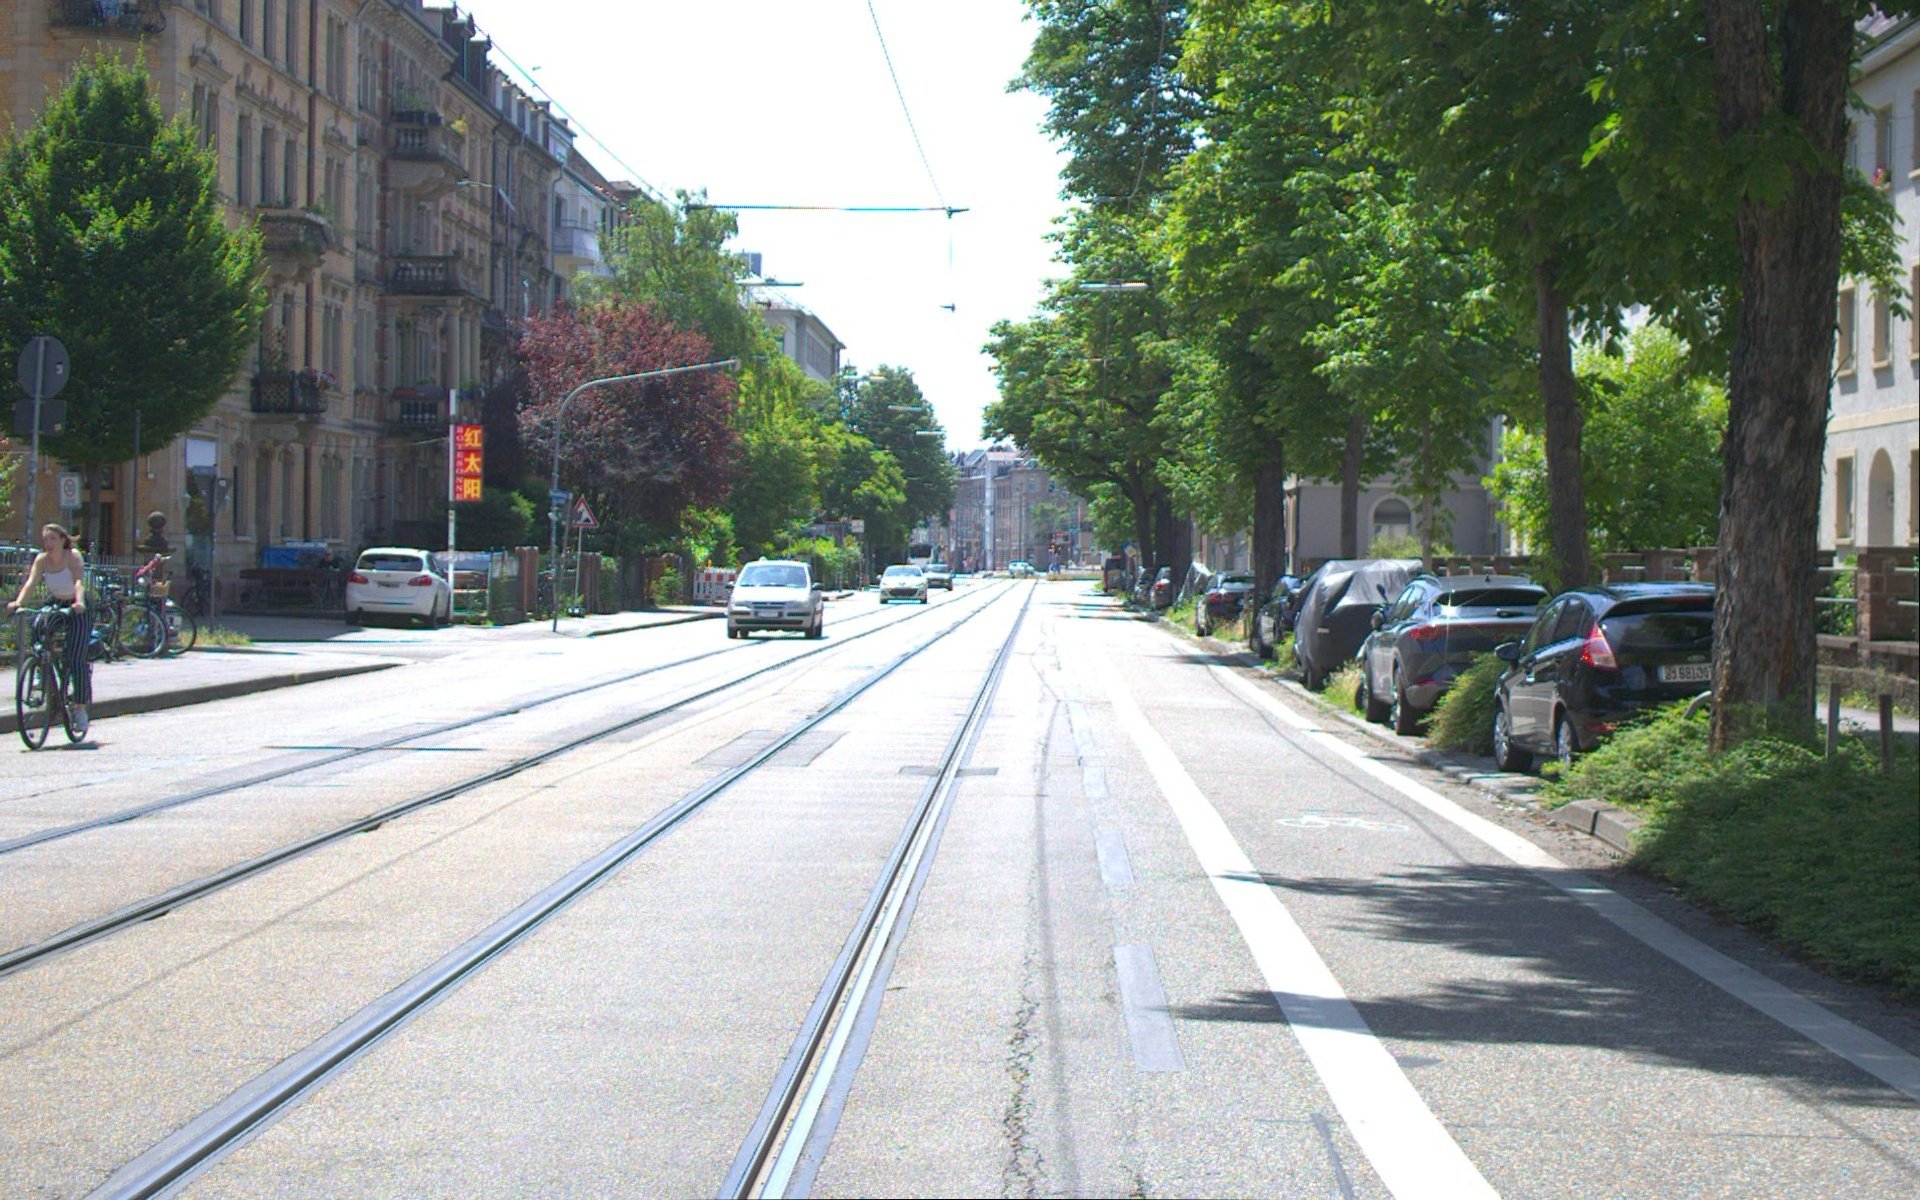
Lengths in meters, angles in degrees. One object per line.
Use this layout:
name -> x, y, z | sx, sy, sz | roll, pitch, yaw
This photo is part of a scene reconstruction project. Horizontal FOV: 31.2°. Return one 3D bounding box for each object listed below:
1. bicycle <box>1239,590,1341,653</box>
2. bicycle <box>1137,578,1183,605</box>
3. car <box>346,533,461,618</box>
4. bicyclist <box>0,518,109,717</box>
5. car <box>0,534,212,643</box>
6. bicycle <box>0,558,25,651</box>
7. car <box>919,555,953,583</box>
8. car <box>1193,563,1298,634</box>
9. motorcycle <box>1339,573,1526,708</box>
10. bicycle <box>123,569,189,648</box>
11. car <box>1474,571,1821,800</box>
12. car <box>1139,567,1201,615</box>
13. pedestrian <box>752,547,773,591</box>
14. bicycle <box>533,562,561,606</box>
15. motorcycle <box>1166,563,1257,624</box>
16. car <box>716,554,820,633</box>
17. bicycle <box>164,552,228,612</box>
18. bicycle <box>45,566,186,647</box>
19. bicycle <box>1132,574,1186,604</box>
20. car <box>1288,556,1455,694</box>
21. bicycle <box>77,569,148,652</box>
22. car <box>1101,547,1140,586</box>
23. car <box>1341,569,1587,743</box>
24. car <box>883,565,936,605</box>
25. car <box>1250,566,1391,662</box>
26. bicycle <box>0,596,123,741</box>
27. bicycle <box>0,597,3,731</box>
bicycle -> 5.724, 0.371, 59.618 | 1.652, 1.074, 0.606 | 1, 1, -6
bicycle -> 8.125, -0.352, 139.631 | 1.816, 1.109, 0.493 | 0, -1, 1
car -> -11.355, -0.511, 70.397 | 1.865, 1.594, 4.102 | 2, 1, -4
bicyclist -> -7.129, 0.129, 27.076 | 0.592, 1.539, 0.952 | 0, 1, 1
car -> -12.492, -0.164, 47.773 | 3.760, 1.423, 1.713 | 2, 0, 2
bicycle -> -10.615, 0.039, 37.130 | 0.496, 0.984, 1.711 | 5, 1, 0
car -> -1.258, -1.684, 184.795 | 1.686, 1.449, 3.748 | 1, 1, 1
car -> 6.152, -0.056, 74.487 | 1.769, 1.422, 4.862 | 1, 1, -1
motorcycle -> 5.216, 0.445, 37.996 | 1.912, 1.428, 0.672 | 1, 1, -7
bicycle -> -10.356, 0.098, 44.312 | 0.438, 0.980, 1.711 | 1, 1, 0
car -> 5.011, 0.567, 25.553 | 1.656, 1.510, 4.000 | 1, 1, -1
car -> 6.796, -0.318, 111.338 | 1.774, 1.496, 4.305 | 0, 1, 0
pedestrian -> -7.572, -1.189, 131.707 | 0.750, 1.623, 0.833 | 2, 0, -4
bicycle -> -9.532, -0.369, 79.404 | 0.454, 1.000, 1.807 | 1, 1, -2
motorcycle -> 6.565, -0.177, 89.795 | 2.319, 1.535, 0.867 | 2, 1, 45
car -> -3.657, -0.149, 66.072 | 1.684, 1.444, 4.000 | 1, 1, 1
bicycle -> -15.505, -0.377, 69.834 | 0.638, 1.183, 2.144 | 1, 1, 5
bicycle -> -11.228, 0.080, 45.719 | 1.705, 1.033, 0.551 | 1, 1, 6
bicycle -> 7.248, -0.395, 125.302 | 1.890, 1.048, 0.538 | 1, 0, 9
car -> 5.322, 0.277, 44.977 | 1.947, 1.645, 4.879 | 1, 1, 4
bicycle -> -10.417, 0.119, 42.271 | 0.438, 0.980, 1.711 | 1, 1, 0
car -> 8.599, -1.816, 184.405 | 1.993, 2.028, 4.697 | 1, 1, 1
car -> 4.930, 0.500, 34.155 | 1.732, 1.546, 4.454 | 1, 1, 0
car -> -1.852, -0.559, 126.587 | 1.756, 1.419, 4.000 | 0, 0, 2
car -> 5.728, 0.196, 55.041 | 1.694, 1.414, 4.357 | 1, 1, -1
bicycle -> -7.131, 0.520, 27.064 | 0.581, 1.074, 1.890 | 0, 1, 1
bicycle -> -8.026, 0.525, 26.715 | 0.629, 1.074, 1.875 | 0, 1, 1
